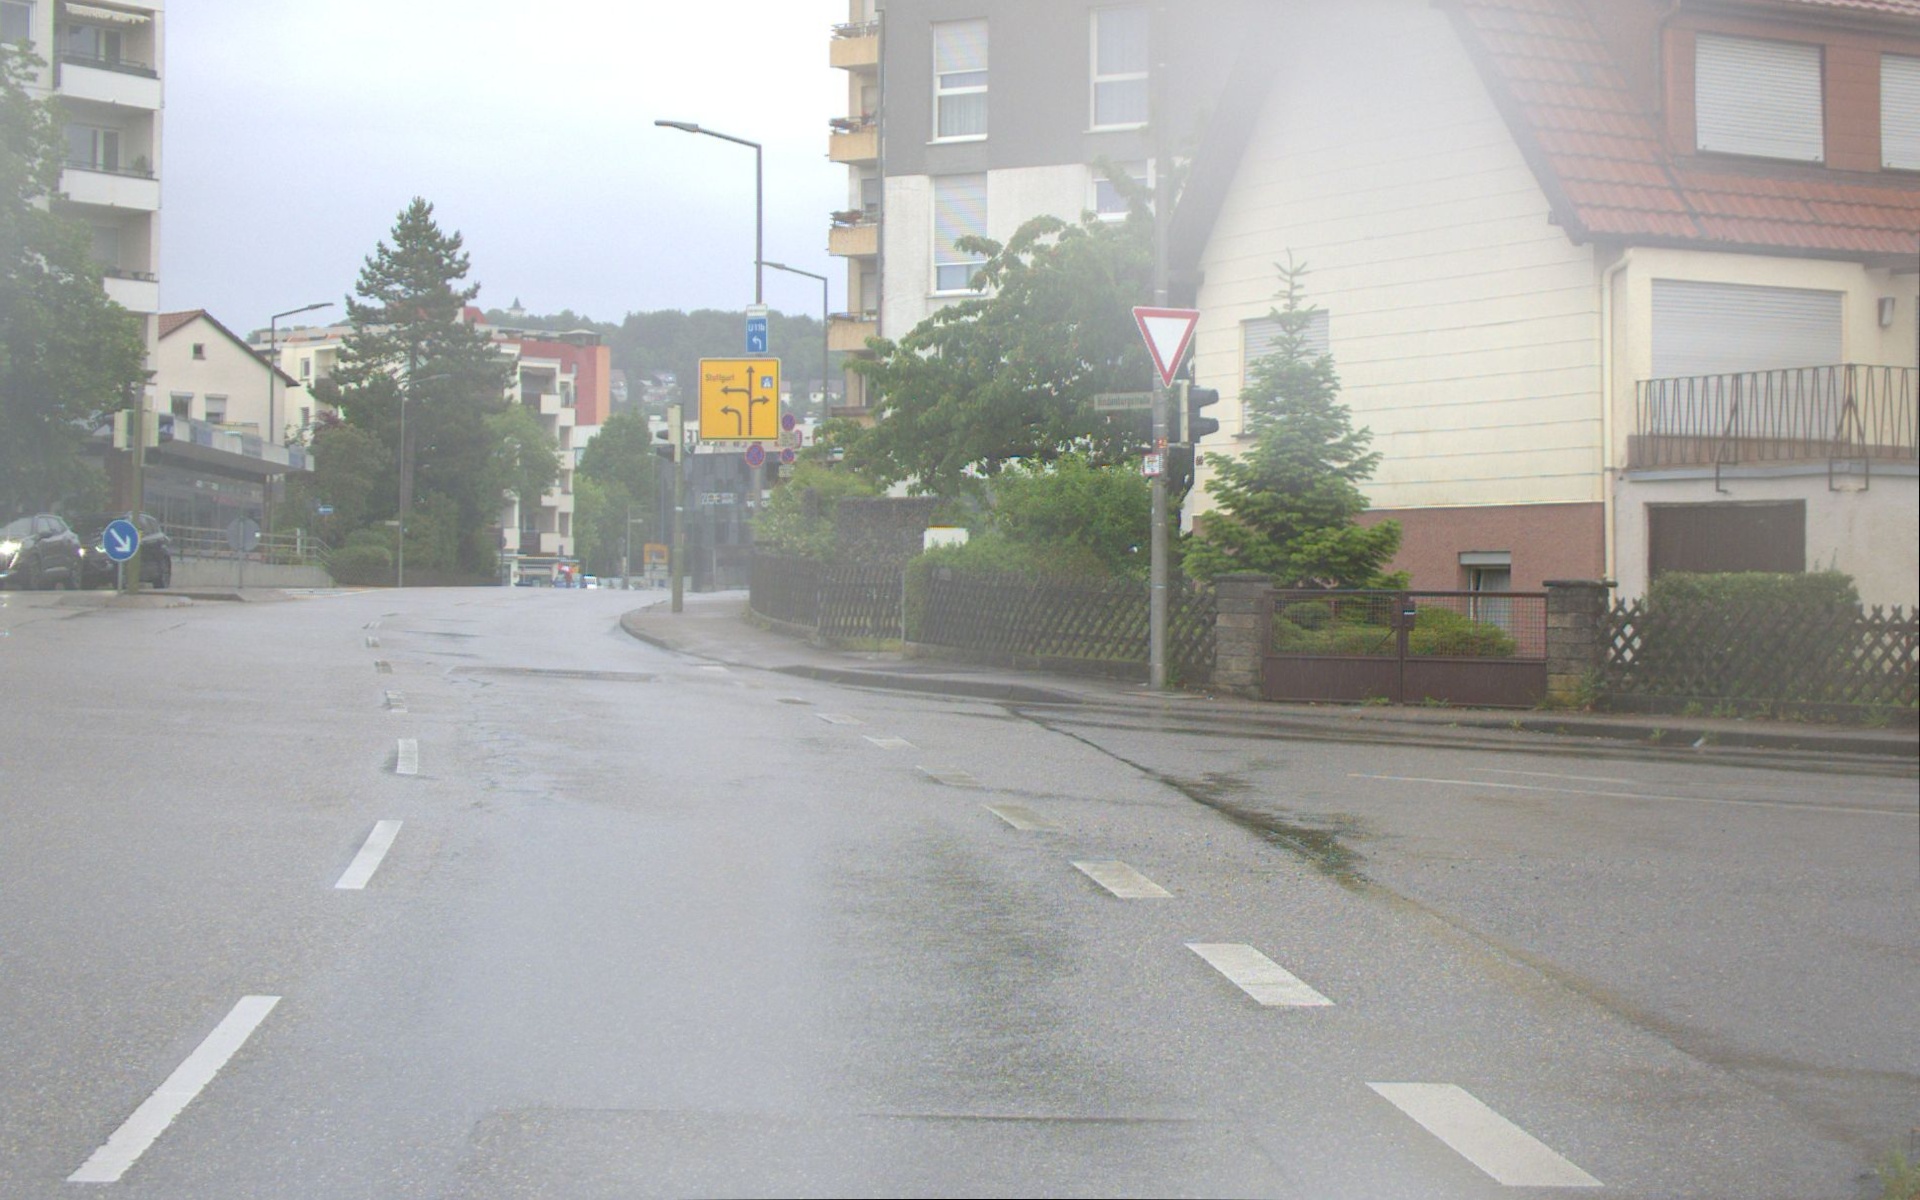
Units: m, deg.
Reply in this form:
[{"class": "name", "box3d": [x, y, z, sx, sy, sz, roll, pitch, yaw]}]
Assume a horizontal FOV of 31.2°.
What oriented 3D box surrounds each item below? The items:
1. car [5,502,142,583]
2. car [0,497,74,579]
[{"class": "car", "box3d": [-18.330, -1.183, 71.264, 1.879, 1.592, 4.185, 1, 1, -2]}, {"class": "car", "box3d": [-18.398, -1.184, 65.763, 1.967, 1.507, 4.000, 1, 1, -2]}]
